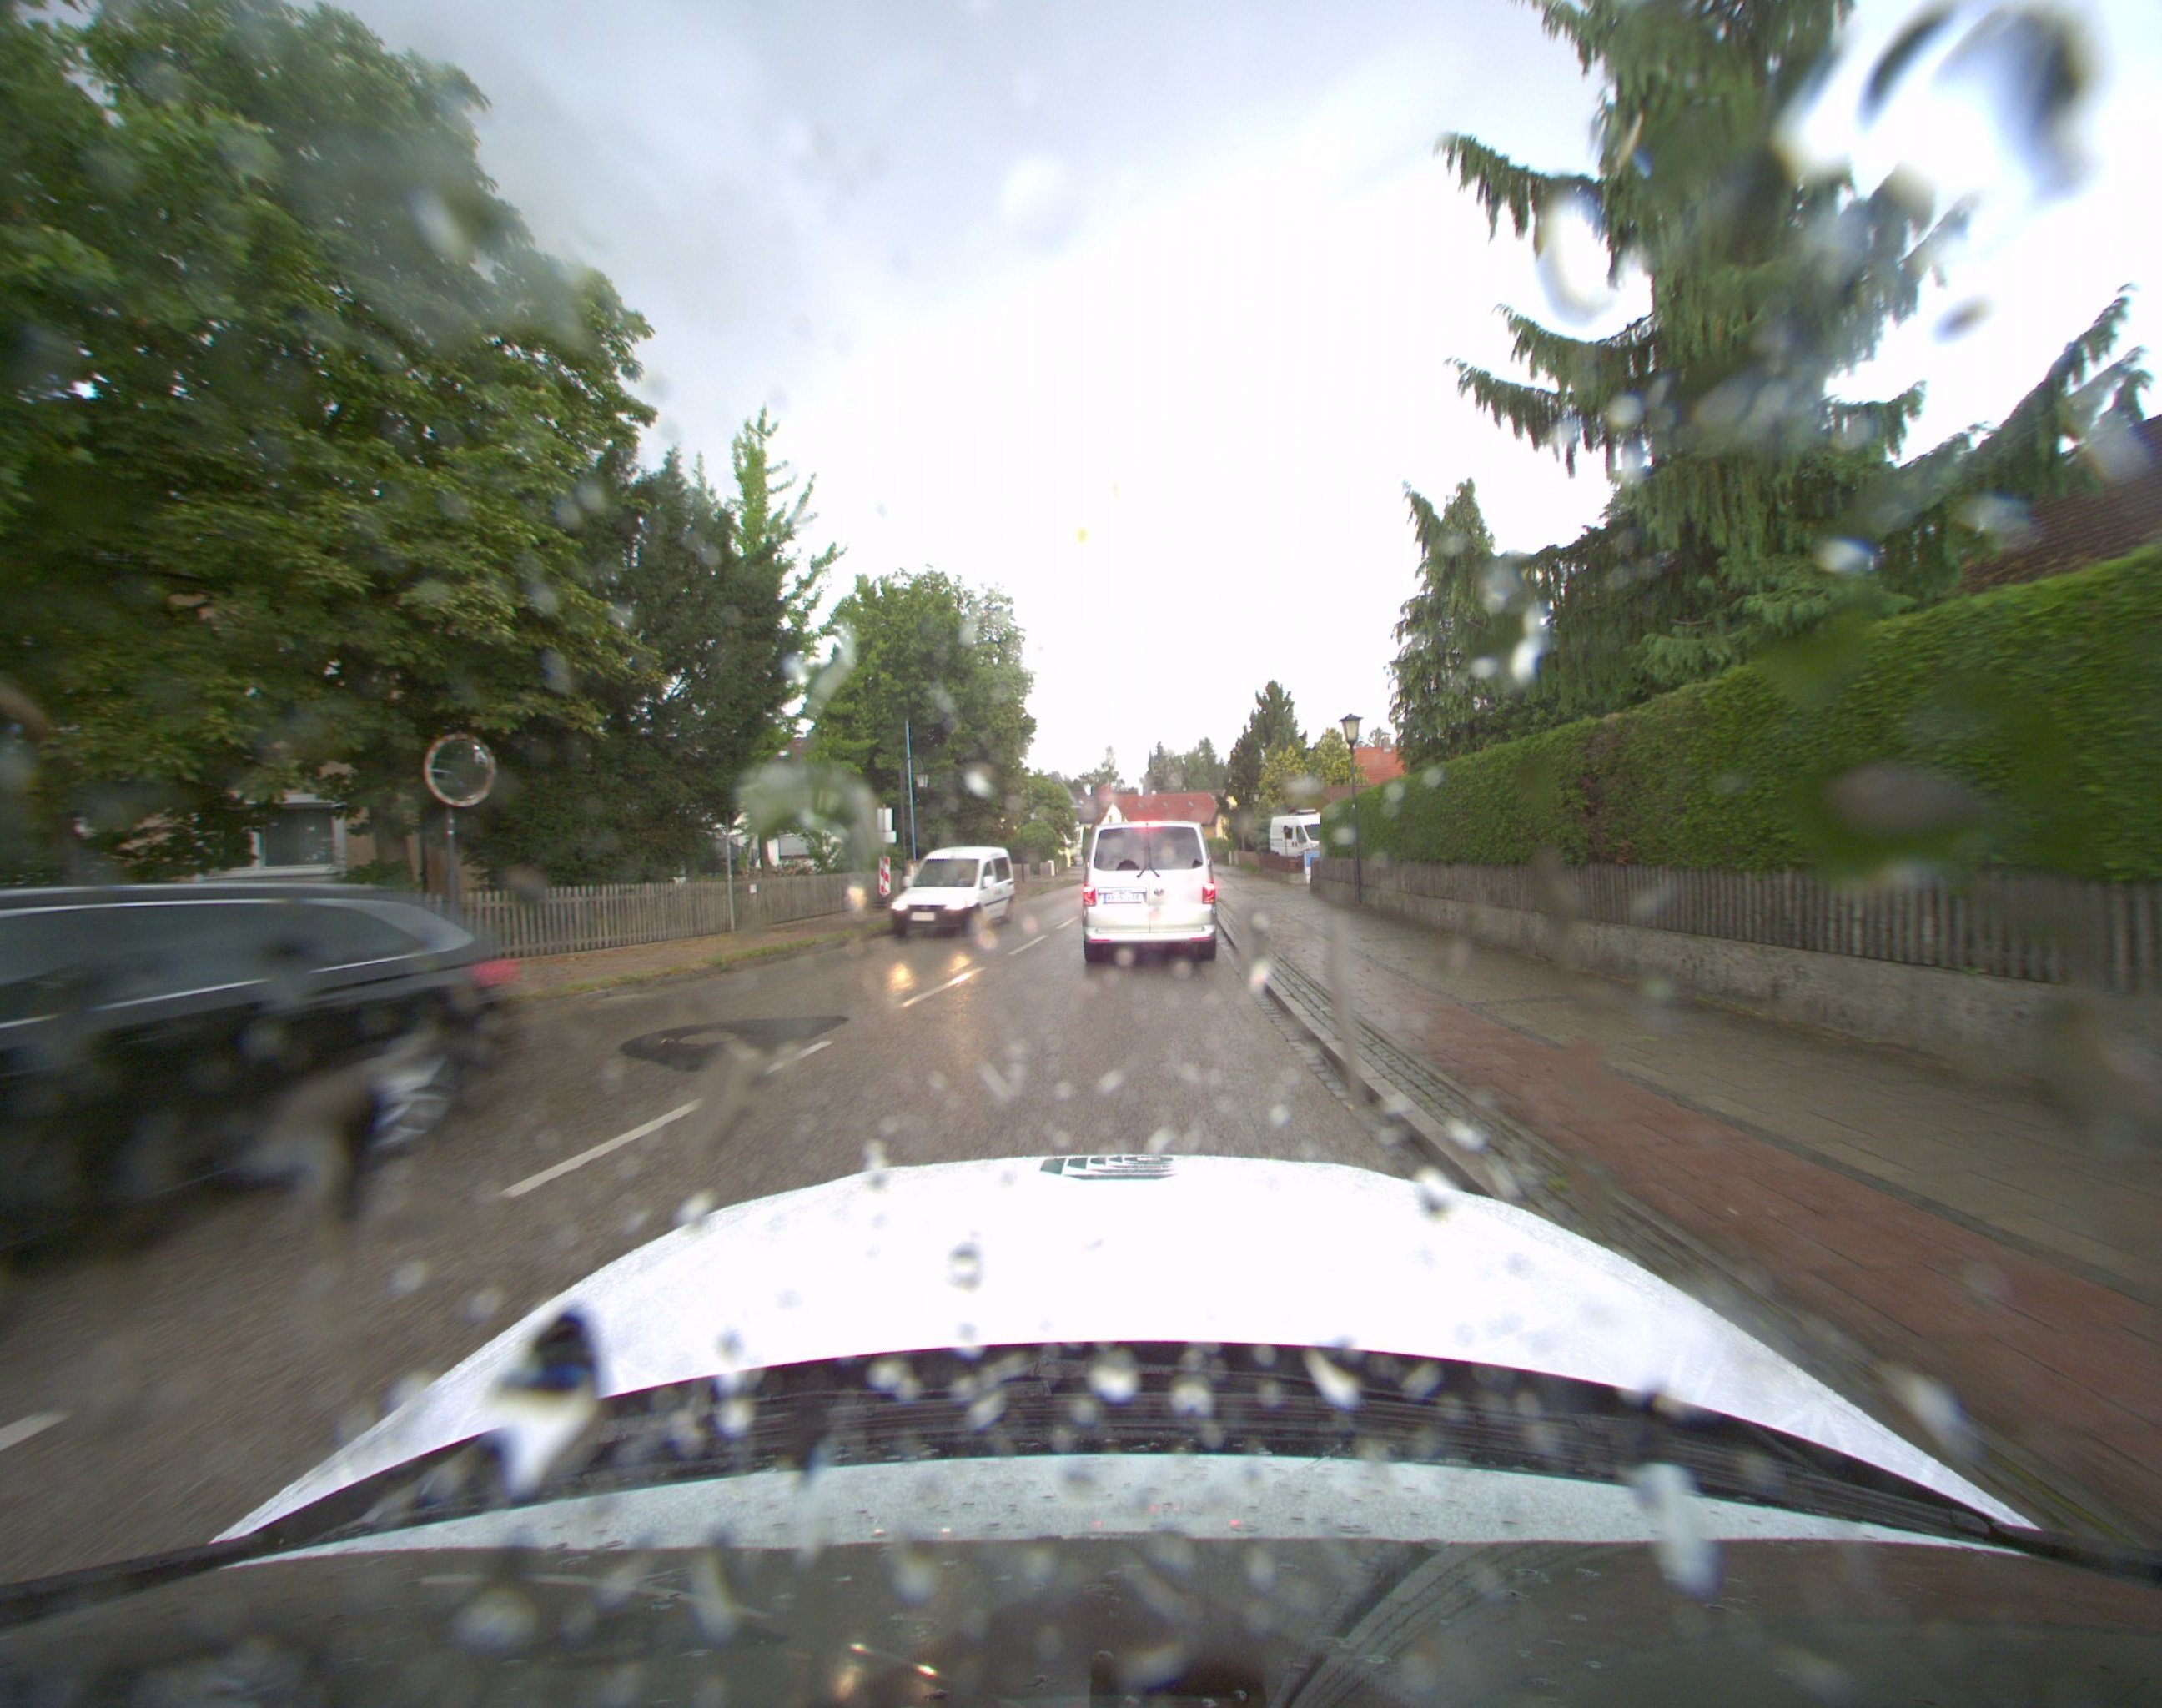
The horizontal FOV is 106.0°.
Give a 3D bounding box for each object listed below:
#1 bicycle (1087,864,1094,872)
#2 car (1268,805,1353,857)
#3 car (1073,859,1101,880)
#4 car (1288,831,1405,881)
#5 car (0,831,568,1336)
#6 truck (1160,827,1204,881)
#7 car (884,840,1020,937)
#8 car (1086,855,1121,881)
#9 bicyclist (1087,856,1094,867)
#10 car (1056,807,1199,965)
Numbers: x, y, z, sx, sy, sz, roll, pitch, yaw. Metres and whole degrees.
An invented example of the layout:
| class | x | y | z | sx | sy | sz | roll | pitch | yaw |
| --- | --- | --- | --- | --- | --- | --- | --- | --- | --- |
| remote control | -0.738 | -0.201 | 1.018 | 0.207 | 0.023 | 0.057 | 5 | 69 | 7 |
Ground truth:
| class | x | y | z | sx | sy | sz | roll | pitch | yaw |
| --- | --- | --- | --- | --- | --- | --- | --- | --- | --- |
| bicycle | 0.949 | 1.401 | 81.064 | 0.454 | 0.798 | 1.980 | -2 | 0 | 6 |
| car | 10.408 | -0.961 | 37.415 | 1.992 | 2.173 | 4.940 | 0 | -1 | -7 |
| car | 0.479 | 1.127 | 59.853 | 1.609 | 1.444 | 3.678 | -1 | -1 | 8 |
| car | 10.450 | 0.063 | 32.236 | 4.077 | 1.751 | 1.696 | -3 | 2 | 2 |
| car | -4.420 | 0.777 | 3.022 | 1.774 | 1.663 | 4.456 | -1 | -1 | 8 |
| truck | 6.091 | 0.020 | 49.719 | 2.463 | 3.074 | 6.306 | -1 | -1 | 6 |
| car | -2.539 | 0.664 | 17.132 | 1.631 | 1.765 | 4.340 | -1 | -1 | 7 |
| car | 1.366 | 0.816 | 48.167 | 1.609 | 1.444 | 3.678 | -1 | -1 | 8 |
| bicyclist | 0.934 | 0.744 | 81.024 | 0.584 | 1.021 | 1.062 | -2 | 0 | 6 |
| car | 0.871 | 0.441 | 12.508 | 1.790 | 2.014 | 4.009 | -1 | -1 | 9 |
